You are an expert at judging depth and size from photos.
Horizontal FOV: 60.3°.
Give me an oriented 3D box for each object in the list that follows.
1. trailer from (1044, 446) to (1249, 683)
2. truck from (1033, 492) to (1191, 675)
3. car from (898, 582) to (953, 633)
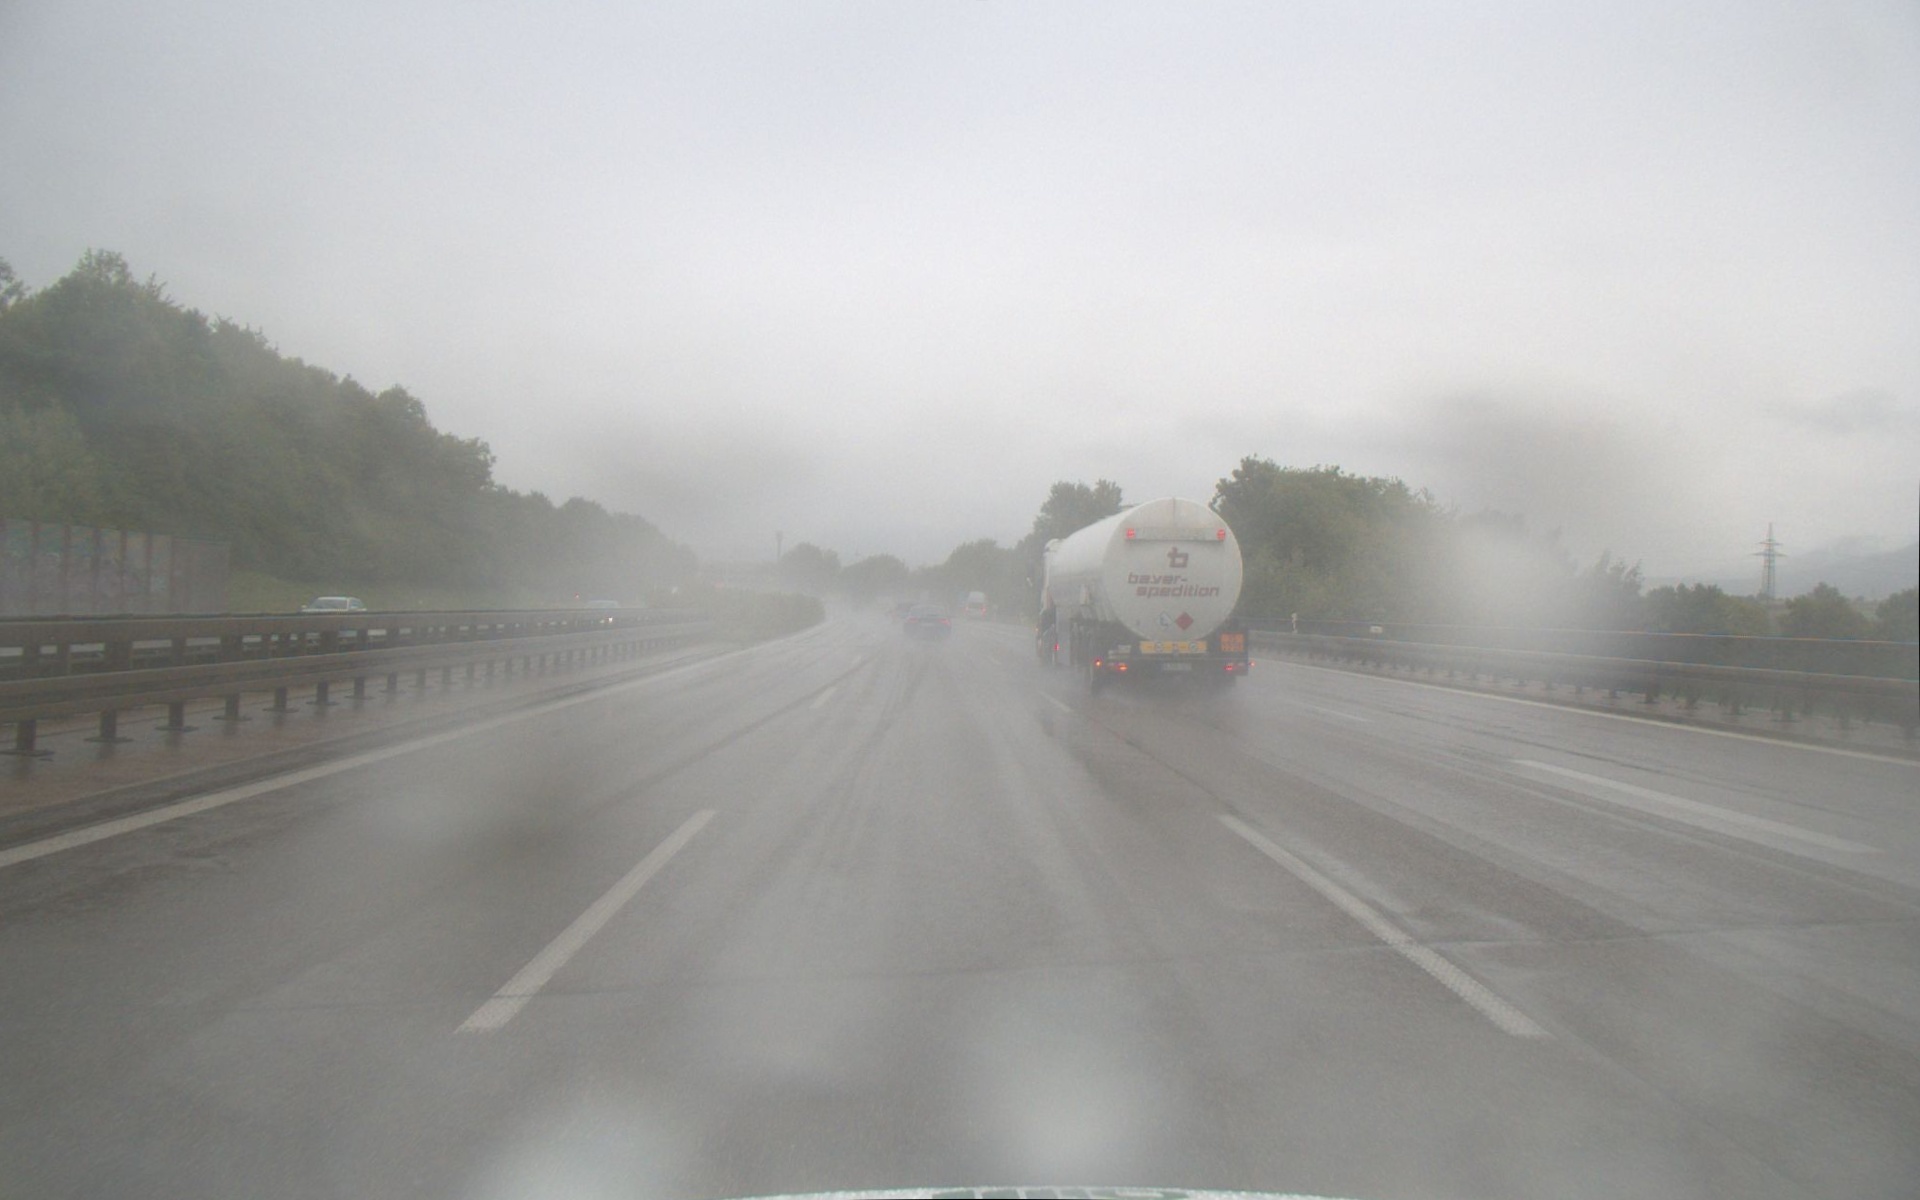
[{"bbox_3d":[3.316,-0.602,31.788,2.943,3.915,8.623,0,0,0],"label":"trailer"},{"bbox_3d":[3.265,-0.345,37.196,2.883,3.749,6.360,-1,0,-1],"label":"truck"},{"bbox_3d":[-1.303,0.231,61.161,1.939,1.787,4.480,0,1,-2],"label":"car"}]
